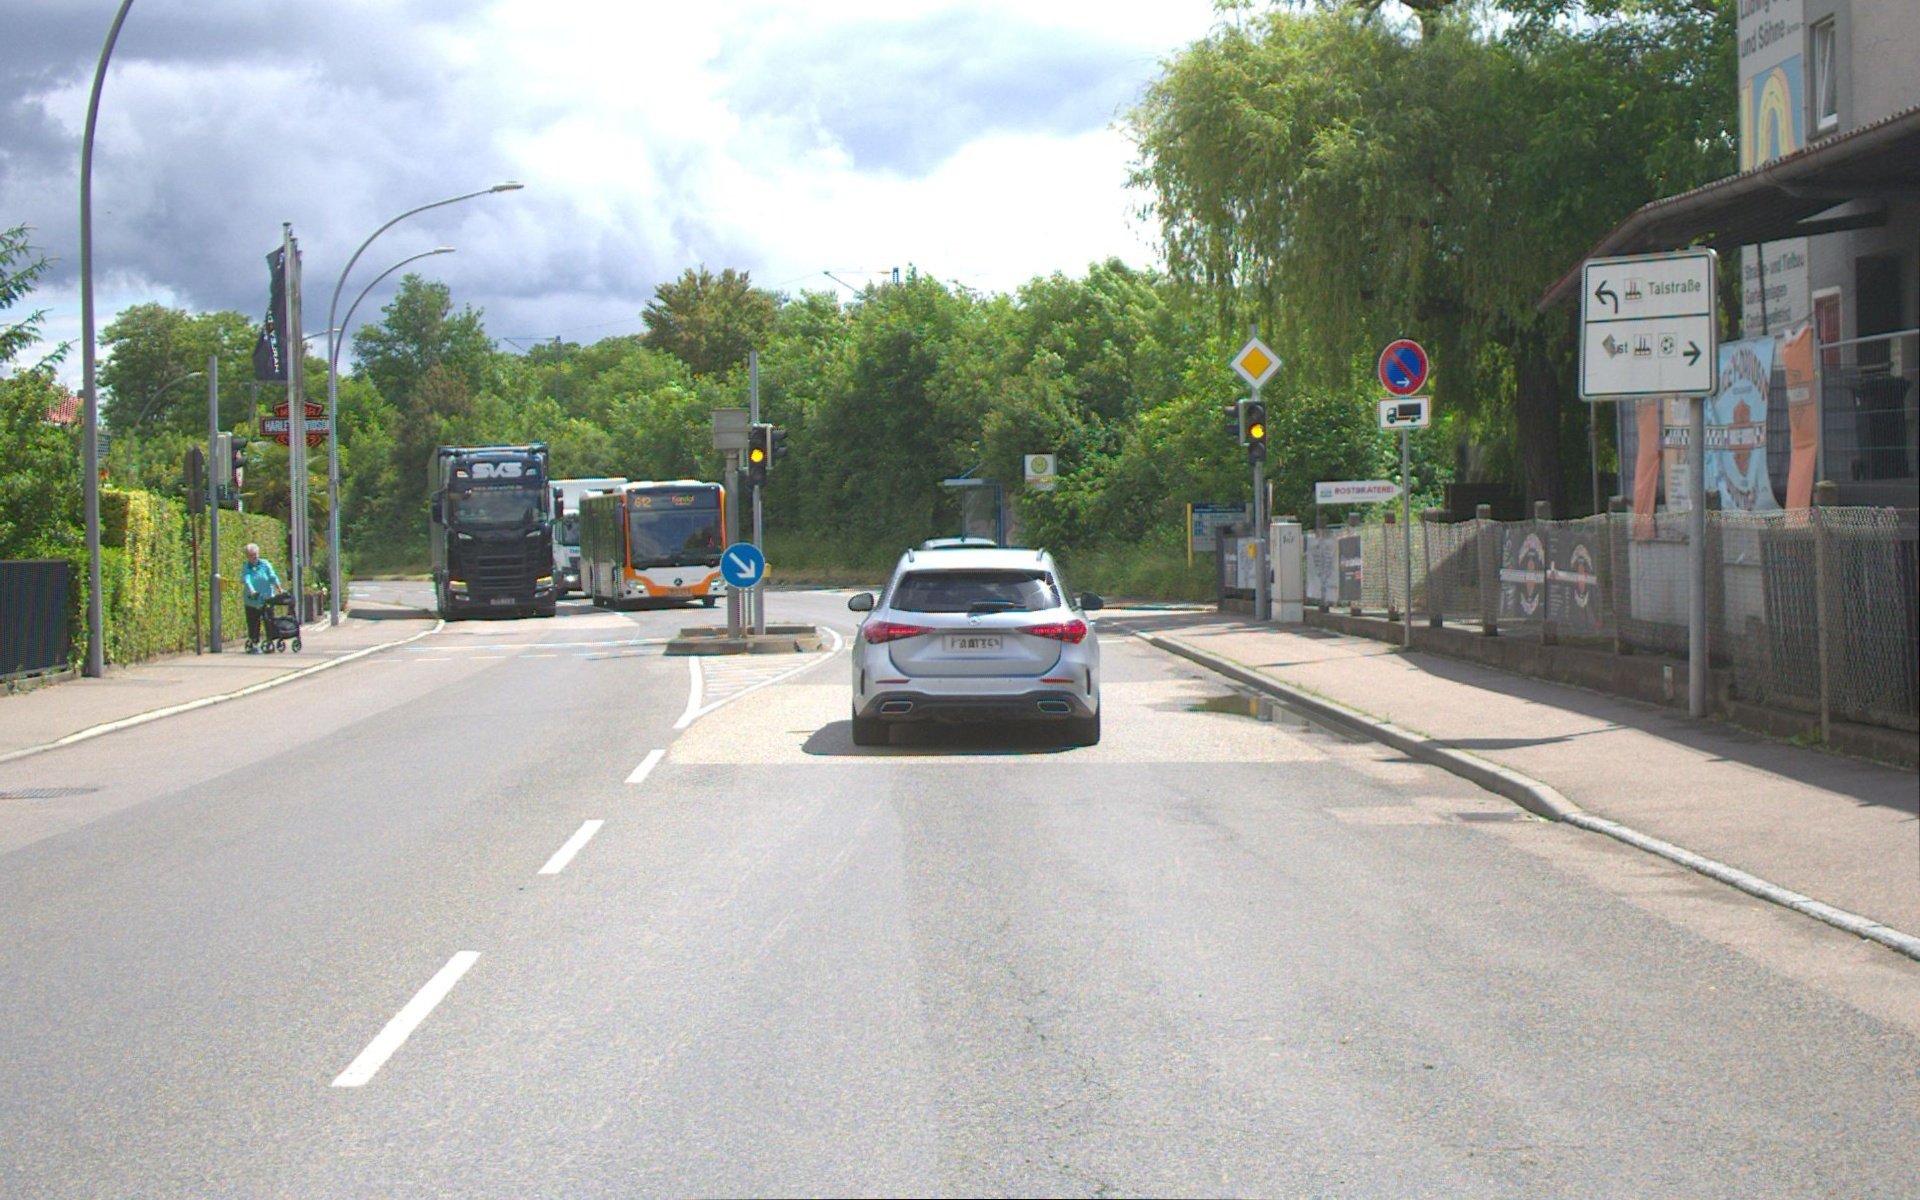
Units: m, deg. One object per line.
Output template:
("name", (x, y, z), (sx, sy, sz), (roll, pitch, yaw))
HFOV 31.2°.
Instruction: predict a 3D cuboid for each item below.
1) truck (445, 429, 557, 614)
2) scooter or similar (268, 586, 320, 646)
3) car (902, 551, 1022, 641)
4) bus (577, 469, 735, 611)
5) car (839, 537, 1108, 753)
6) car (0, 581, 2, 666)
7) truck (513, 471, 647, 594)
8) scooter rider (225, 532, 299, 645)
("truck", (-10.885, -1.814, 81.779), (2.428, 4.117, 9.152), (1, 0, -7))
("scooter or similar", (-9.480, 0.228, 48.931), (0.611, 0.829, 0.659), (1, 1, -1))
("car", (0.005, -0.099, 60.876), (1.884, 1.503, 4.001), (-1, 1, -3))
("bus", (-7.810, -1.496, 86.840), (2.777, 3.255, 12.127), (-2, 1, -10))
("car", (0.139, 0.282, 26.261), (1.885, 1.503, 4.000), (-1, 1, 1))
("car", (-11.761, 0.057, 36.639), (2.153, 1.501, 4.268), (-1, 1, -4))
("truck", (-11.757, -2.051, 105.588), (2.839, 3.528, 9.727), (-2, 1, -13))
("scooter rider", (-10.002, -0.169, 49.290), (0.878, 1.584, 0.796), (-1, 1, -1))
